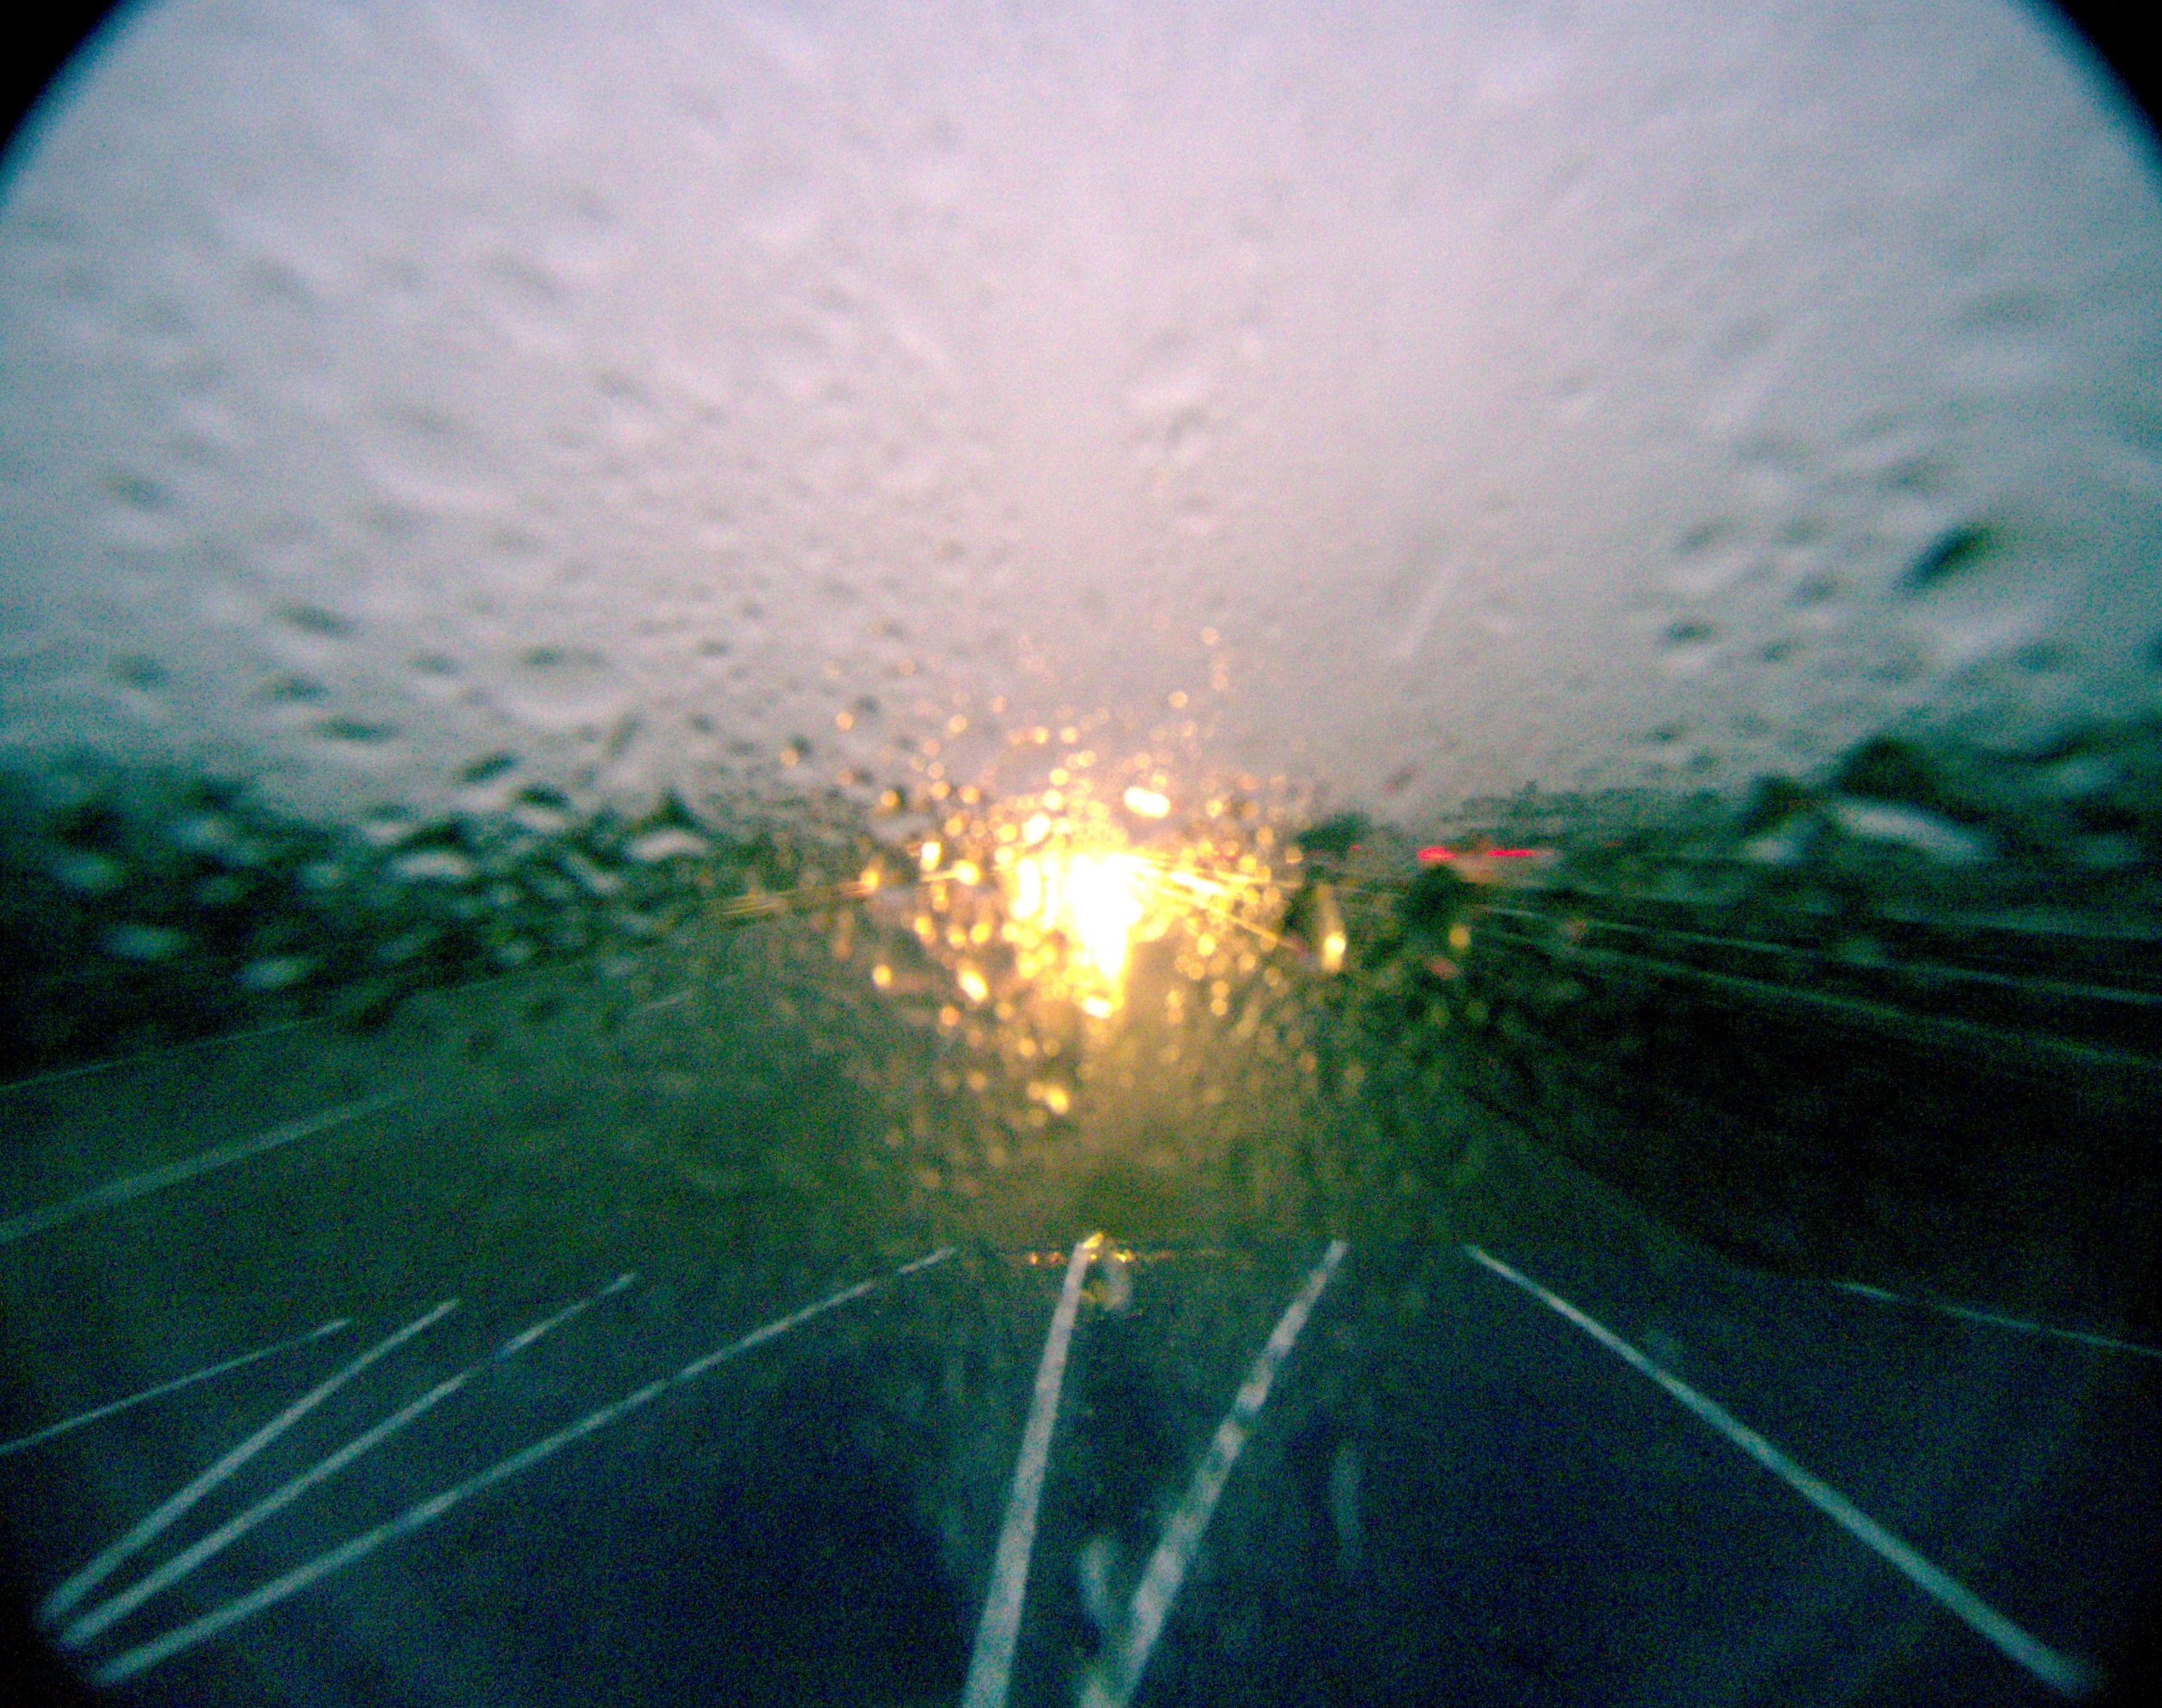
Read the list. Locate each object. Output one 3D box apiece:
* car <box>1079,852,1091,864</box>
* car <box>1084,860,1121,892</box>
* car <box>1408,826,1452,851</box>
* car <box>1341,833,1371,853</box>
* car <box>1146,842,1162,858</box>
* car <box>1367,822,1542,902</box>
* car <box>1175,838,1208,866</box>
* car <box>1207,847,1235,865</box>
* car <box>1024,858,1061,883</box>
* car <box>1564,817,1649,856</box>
[{"bbox_3d":[0.693,0.722,133.764,1.998,2.002,4.000,-3,0,2],"label":"car"},{"bbox_3d":[1.155,1.116,40.028,1.850,1.521,4.149,-2,0,2],"label":"car"},{"bbox_3d":[30.252,-1.319,65.915,1.998,2.002,4.000,-3,1,2],"label":"car"},{"bbox_3d":[30.836,-1.213,85.238,1.998,2.001,4.001,-2,0,2],"label":"car"},{"bbox_3d":[10.810,-0.623,112.787,1.998,2.202,5.054,-2,0,3],"label":"car"},{"bbox_3d":[8.199,0.180,17.180,1.998,1.542,4.137,-2,0,2],"label":"car"},{"bbox_3d":[8.984,-0.159,62.170,1.998,2.123,5.200,-2,0,2],"label":"car"},{"bbox_3d":[13.061,0.184,71.140,1.840,1.626,4.545,-2,0,2],"label":"car"},{"bbox_3d":[-2.471,1.036,49.808,1.850,1.521,4.150,-2,0,4],"label":"car"},{"bbox_3d":[29.471,-0.955,42.794,1.998,2.002,4.000,-2,0,1],"label":"car"}]
